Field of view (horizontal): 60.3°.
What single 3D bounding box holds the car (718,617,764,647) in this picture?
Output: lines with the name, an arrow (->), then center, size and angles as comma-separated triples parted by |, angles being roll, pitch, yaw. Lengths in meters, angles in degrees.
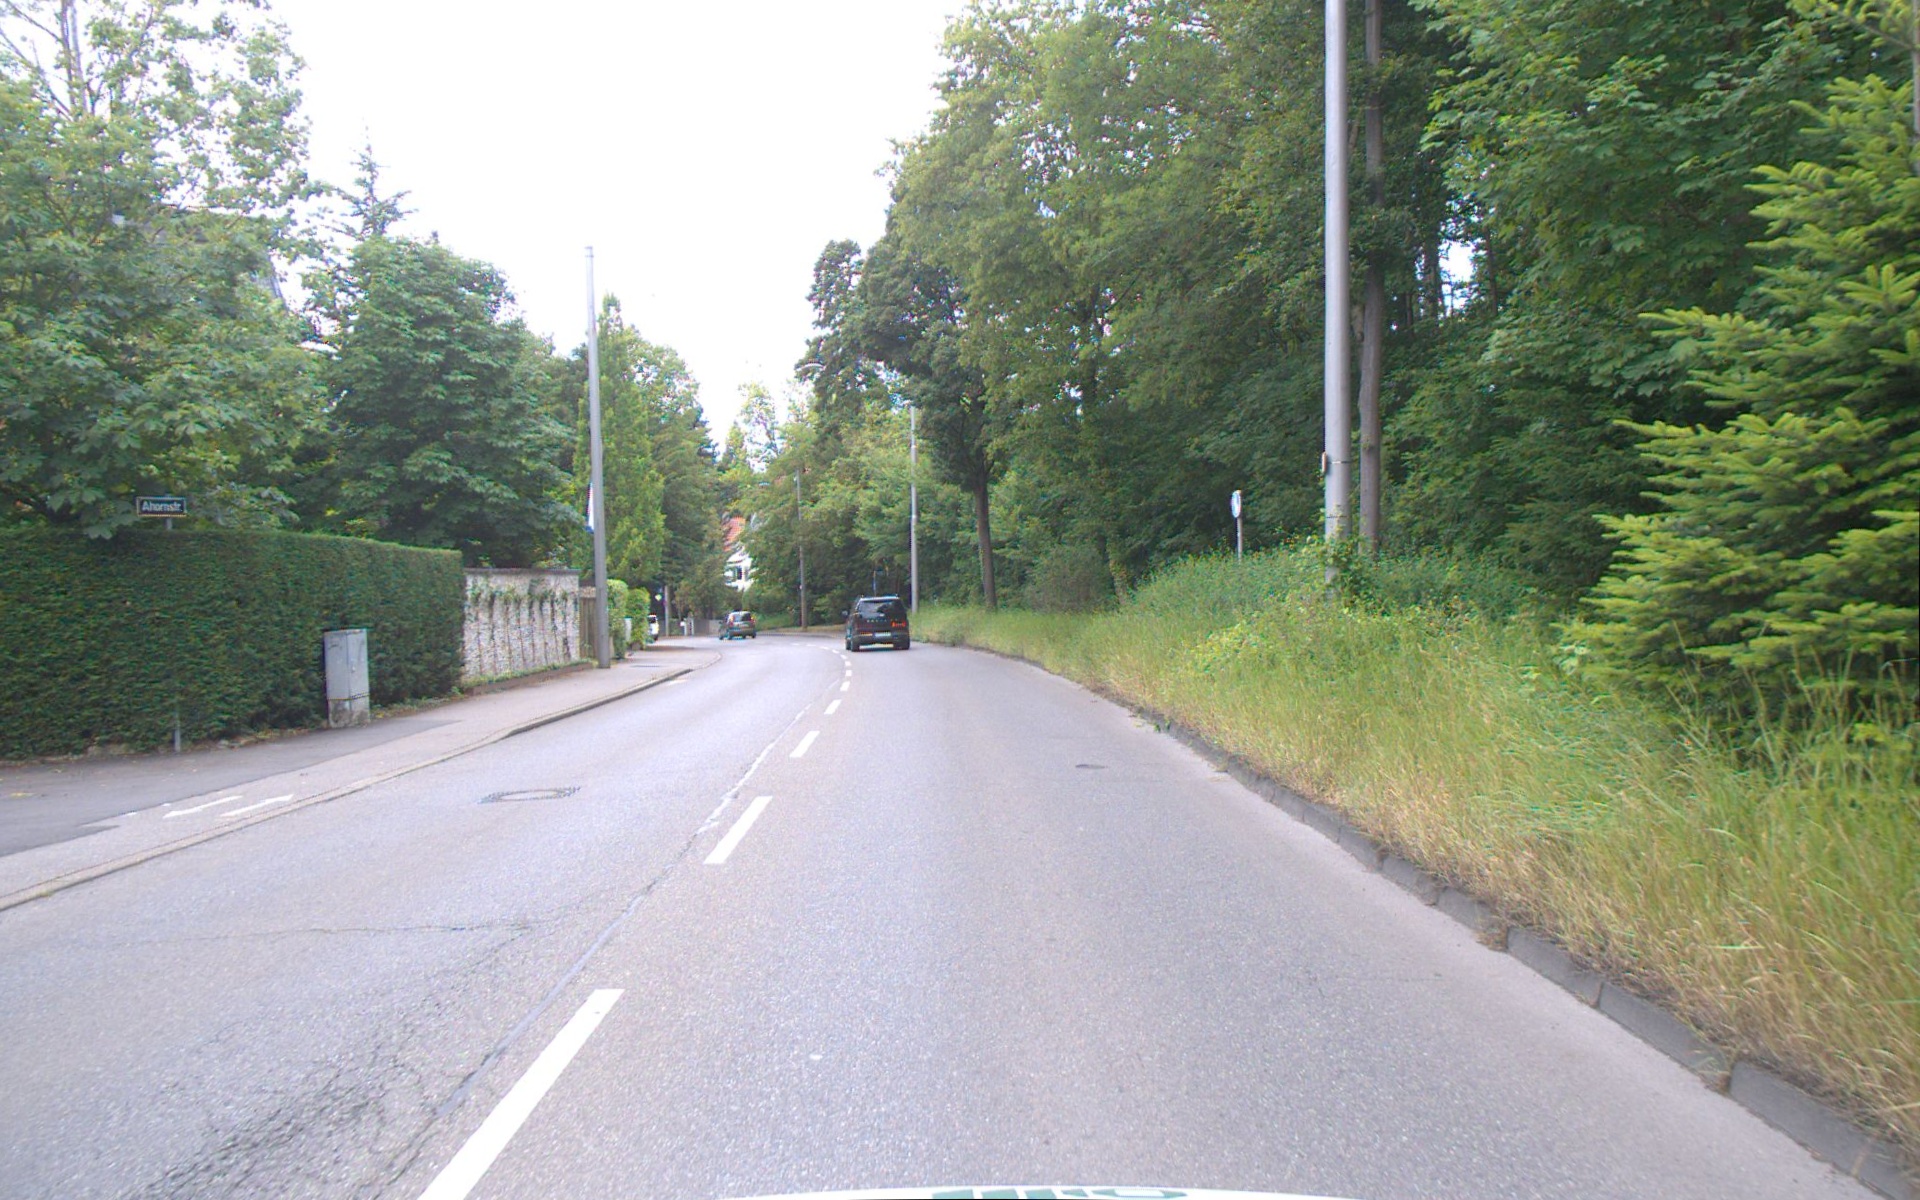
car -> -13.233, 1.917, 99.621 | 1.964, 1.646, 3.978 | -2, 0, -19

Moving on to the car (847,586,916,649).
car -> -2.594, 0.543, 53.950 | 1.955, 1.914, 3.994 | -2, 0, -6
